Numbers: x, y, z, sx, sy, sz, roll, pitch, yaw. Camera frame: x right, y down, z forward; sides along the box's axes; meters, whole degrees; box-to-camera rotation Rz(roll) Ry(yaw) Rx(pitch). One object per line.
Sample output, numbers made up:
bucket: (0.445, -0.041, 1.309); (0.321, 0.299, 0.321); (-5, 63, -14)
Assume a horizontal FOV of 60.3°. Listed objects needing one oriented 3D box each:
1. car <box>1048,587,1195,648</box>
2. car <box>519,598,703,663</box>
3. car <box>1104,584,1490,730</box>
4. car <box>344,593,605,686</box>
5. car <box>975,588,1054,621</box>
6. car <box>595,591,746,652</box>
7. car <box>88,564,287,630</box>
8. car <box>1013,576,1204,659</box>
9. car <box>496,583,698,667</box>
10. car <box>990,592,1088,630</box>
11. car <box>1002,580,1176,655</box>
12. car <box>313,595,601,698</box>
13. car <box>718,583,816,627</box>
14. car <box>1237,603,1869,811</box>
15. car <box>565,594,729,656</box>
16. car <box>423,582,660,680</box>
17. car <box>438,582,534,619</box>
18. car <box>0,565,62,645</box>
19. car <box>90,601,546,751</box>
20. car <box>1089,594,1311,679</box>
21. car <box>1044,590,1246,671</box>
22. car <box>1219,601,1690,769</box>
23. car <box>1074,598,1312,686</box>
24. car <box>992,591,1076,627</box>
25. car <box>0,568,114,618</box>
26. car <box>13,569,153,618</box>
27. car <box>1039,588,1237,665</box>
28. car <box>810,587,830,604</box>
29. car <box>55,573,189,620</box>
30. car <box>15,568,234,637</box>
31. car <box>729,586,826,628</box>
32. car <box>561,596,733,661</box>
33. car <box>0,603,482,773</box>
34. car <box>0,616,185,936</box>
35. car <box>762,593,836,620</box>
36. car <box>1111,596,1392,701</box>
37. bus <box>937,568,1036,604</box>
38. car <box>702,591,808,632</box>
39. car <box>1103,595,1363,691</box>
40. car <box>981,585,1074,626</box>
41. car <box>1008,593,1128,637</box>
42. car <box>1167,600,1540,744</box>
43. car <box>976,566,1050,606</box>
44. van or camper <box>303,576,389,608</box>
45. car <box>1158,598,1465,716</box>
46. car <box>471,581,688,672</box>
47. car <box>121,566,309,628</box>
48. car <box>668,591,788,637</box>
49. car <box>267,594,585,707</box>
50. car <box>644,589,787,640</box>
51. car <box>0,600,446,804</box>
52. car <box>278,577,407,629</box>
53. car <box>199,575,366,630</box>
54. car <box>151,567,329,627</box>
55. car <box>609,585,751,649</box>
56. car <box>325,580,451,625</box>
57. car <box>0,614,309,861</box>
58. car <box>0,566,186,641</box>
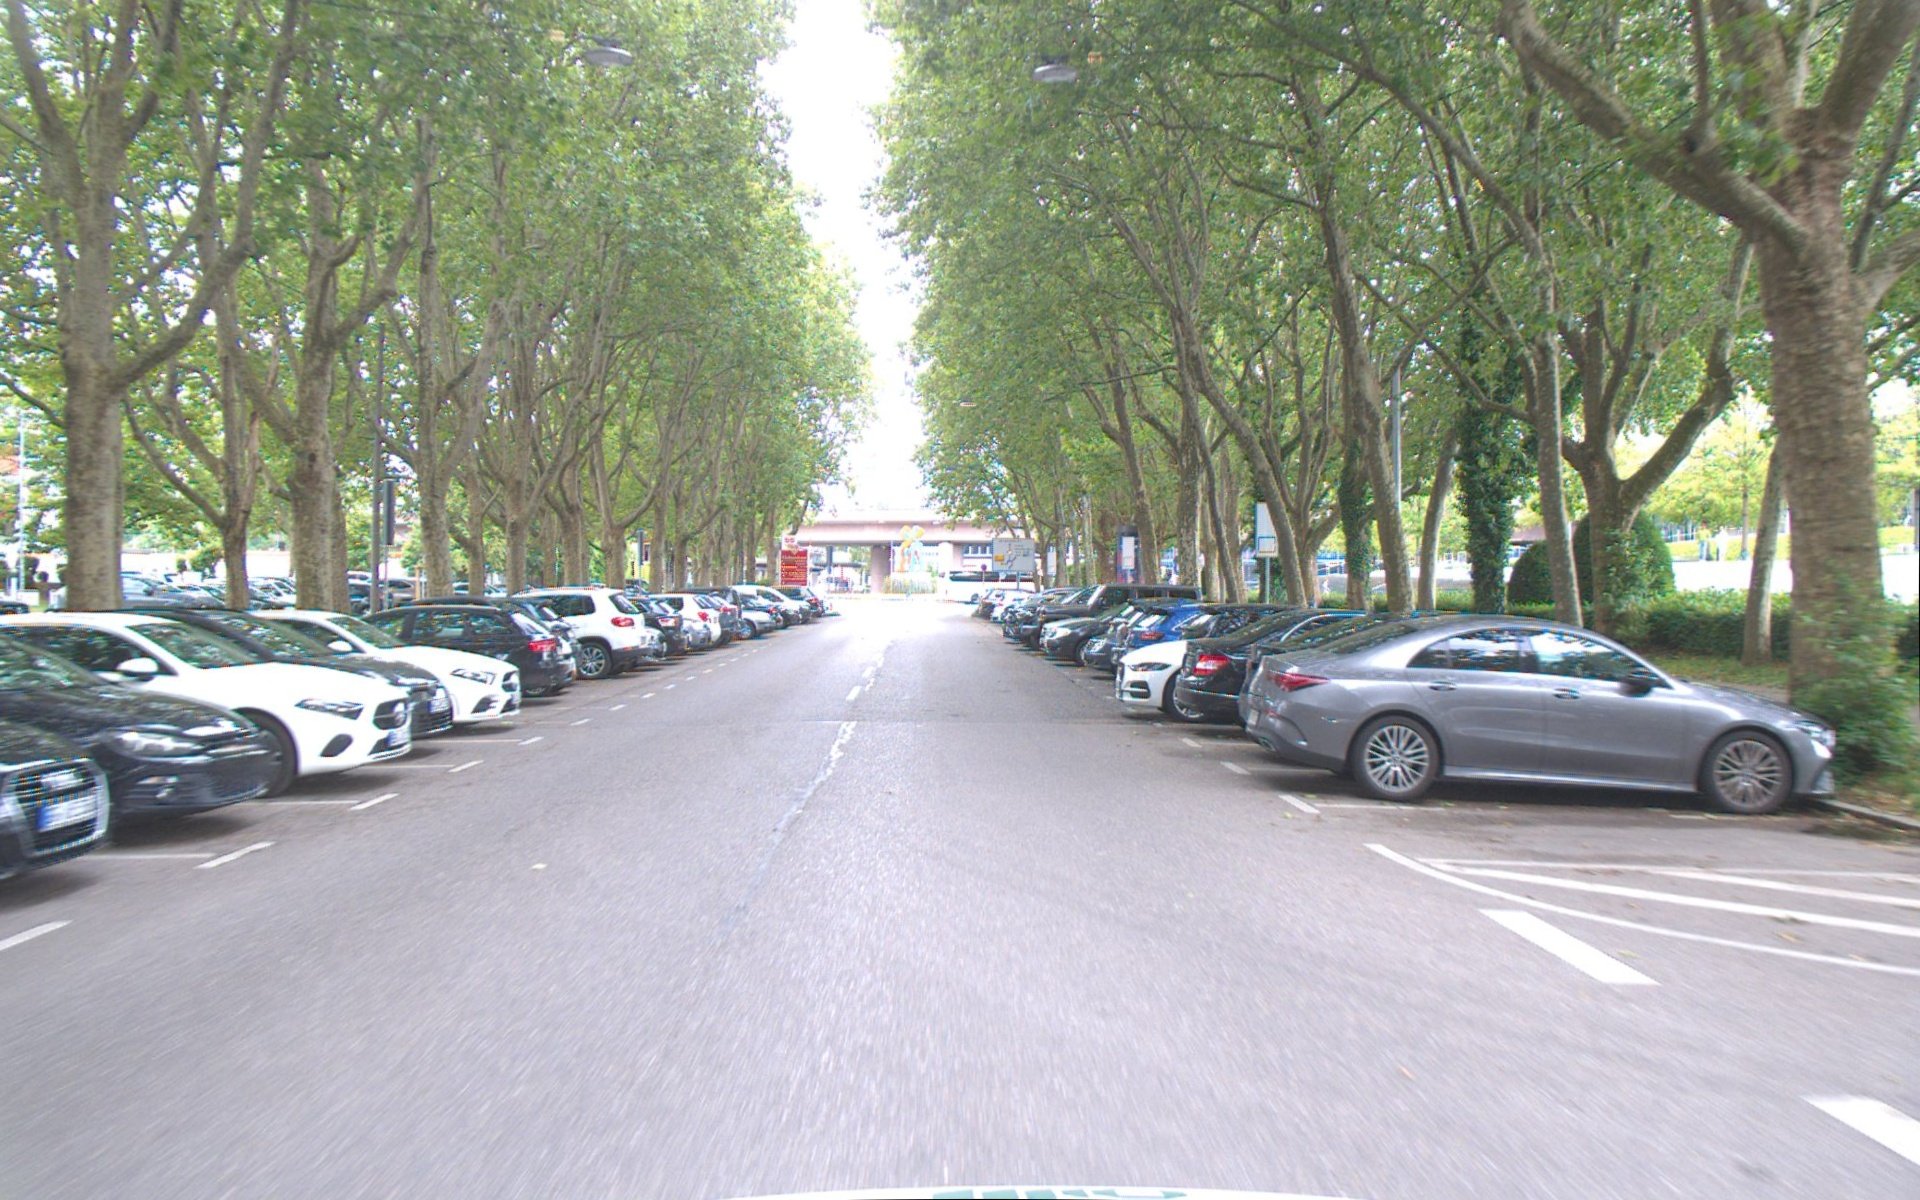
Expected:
car: (5.251, 0.558, 54.200); (4.410, 1.828, 2.044); (2, 1, -8)
car: (-8.059, 0.698, 38.492); (3.907, 1.393, 1.843); (1, 0, -3)
car: (4.147, 0.678, 20.939); (4.432, 1.651, 2.054); (1, 1, -1)
car: (-8.263, 0.662, 28.419); (3.905, 1.478, 1.855); (1, 0, 0)
car: (2.974, 0.257, 91.067); (4.258, 1.662, 1.925); (2, 1, -1)
car: (-7.934, 0.563, 45.576); (3.852, 1.542, 1.727); (-1, 0, -3)
car: (-22.851, -0.090, 49.088); (4.843, 1.828, 2.181); (1, 0, -4)
car: (3.632, 0.413, 40.976); (4.407, 1.899, 2.046); (2, 1, -5)
car: (-7.778, 0.527, 35.711); (3.905, 1.711, 1.855); (1, 0, 0)
car: (3.369, 0.468, 71.028); (4.064, 1.483, 1.727); (2, 0, -1)
car: (3.393, 0.448, 44.086); (4.404, 1.828, 2.047); (2, 1, -2)
car: (-7.785, 0.704, 25.882); (3.905, 1.478, 1.855); (1, 0, 0)
car: (-8.532, 0.213, 73.449); (4.233, 1.841, 1.866); (-2, 0, -5)
car: (4.634, 0.809, 13.414); (4.492, 1.442, 1.719); (1, 1, 2)
car: (-8.211, 0.646, 43.626); (3.909, 1.511, 1.704); (-1, 0, 3)
car: (-7.728, 0.565, 30.823); (3.905, 1.711, 1.855); (1, 0, 0)
car: (-24.012, 0.029, 83.877); (4.234, 1.739, 2.131); (1, 0, -2)
car: (-22.869, 0.162, 36.936); (4.462, 1.750, 1.999); (-2, 0, -4)
car: (-7.076, 0.806, 18.645); (4.319, 1.469, 2.046); (-1, 1, -3)
car: (4.806, 0.718, 33.430); (4.113, 1.545, 1.783); (2, 1, -5)
car: (3.962, 0.647, 35.874); (4.111, 1.545, 1.784); (2, 0, -2)
car: (4.697, 0.787, 16.047); (3.941, 1.442, 1.908); (1, 1, -7)
car: (4.328, 0.773, 31.052); (4.113, 1.481, 1.783); (2, 1, -5)
car: (3.284, 0.399, 73.644); (3.568, 1.451, 1.664); (2, 1, -4)
car: (-36.005, -0.268, 64.820); (4.482, 1.887, 2.297); (1, 0, 4)
car: (-35.757, -0.252, 67.530); (4.482, 1.887, 2.297); (1, 0, 4)
car: (4.079, 0.598, 38.533); (4.402, 1.599, 2.048); (2, 1, 2)
car: (-13.632, -0.431, 161.459); (1.805, 1.536, 4.013); (1, 0, -3)
car: (-35.479, -0.159, 70.099); (4.482, 1.887, 2.297); (1, 0, 4)
car: (-22.811, 0.070, 45.309); (4.843, 1.828, 2.182); (0, 0, -4)
car: (-8.354, 0.301, 75.871); (4.230, 1.826, 2.036); (1, 0, -1)
car: (-7.642, 0.682, 40.689); (3.913, 1.445, 1.702); (-1, 0, -3)
car: (-7.073, 0.812, 16.035); (4.318, 1.442, 1.783); (-1, 0, -1)
car: (-6.589, 0.867, 8.385); (4.321, 1.419, 2.045); (-1, 1, -5)
car: (-9.091, 0.378, 93.591); (3.911, 1.409, 1.912); (1, 0, 2)
car: (4.512, 0.736, 25.935); (3.939, 1.472, 1.912); (2, 1, -7)
bus: (2.665, -1.380, 165.152); (9.841, 3.458, 2.326); (0, 0, -21)
car: (-8.141, 0.448, 65.917); (3.896, 1.445, 1.756); (-2, 0, 2)
car: (4.686, 0.732, 28.725); (4.113, 1.481, 1.783); (2, 1, -5)
car: (3.180, 0.257, 78.580); (4.259, 1.791, 1.924); (2, 0, -3)
car: (3.962, 0.551, 61.033); (4.258, 1.438, 1.925); (2, 1, -1)
car: (4.318, 0.772, 18.545); (3.752, 1.442, 1.718); (1, 1, -1)
car: (2.852, -0.757, 89.777); (3.906, 2.049, 2.000); (2, 1, -1)
van or camper: (-36.114, -0.465, 97.297); (4.234, 1.739, 2.131); (1, 0, -2)
car: (4.908, 0.783, 23.458); (3.934, 1.472, 1.784); (2, 1, -1)
car: (-7.593, 0.520, 33.251); (3.905, 1.711, 1.855); (1, 0, 0)
car: (-23.136, -0.085, 51.514); (4.843, 1.828, 2.181); (1, 0, -4)
car: (-7.806, 0.457, 55.938); (3.852, 1.422, 1.702); (-1, 0, -3)
car: (-7.532, 0.699, 23.628); (3.905, 1.478, 1.855); (1, 0, 0)
car: (-7.874, 0.463, 53.516); (4.374, 1.508, 1.702); (-1, 0, -3)
car: (-6.601, 0.785, 13.373); (4.319, 1.449, 1.775); (-1, 0, -3)
car: (-23.909, 0.128, 64.153); (4.234, 1.893, 2.027); (1, 0, -2)
car: (-23.225, 0.094, 56.836); (4.843, 1.828, 2.182); (0, 0, -4)
car: (-23.453, -0.080, 54.041); (4.843, 1.828, 2.181); (1, 0, -4)
car: (-8.092, 0.466, 48.073); (3.852, 1.738, 1.751); (-1, 0, -3)
car: (-23.969, 0.104, 69.415); (4.460, 1.756, 2.295); (1, 0, -2)
car: (-6.741, 0.872, 10.723); (4.320, 1.419, 1.723); (-1, 0, -4)
car: (-22.877, 0.086, 42.539); (4.843, 1.828, 2.181); (1, 0, -4)
